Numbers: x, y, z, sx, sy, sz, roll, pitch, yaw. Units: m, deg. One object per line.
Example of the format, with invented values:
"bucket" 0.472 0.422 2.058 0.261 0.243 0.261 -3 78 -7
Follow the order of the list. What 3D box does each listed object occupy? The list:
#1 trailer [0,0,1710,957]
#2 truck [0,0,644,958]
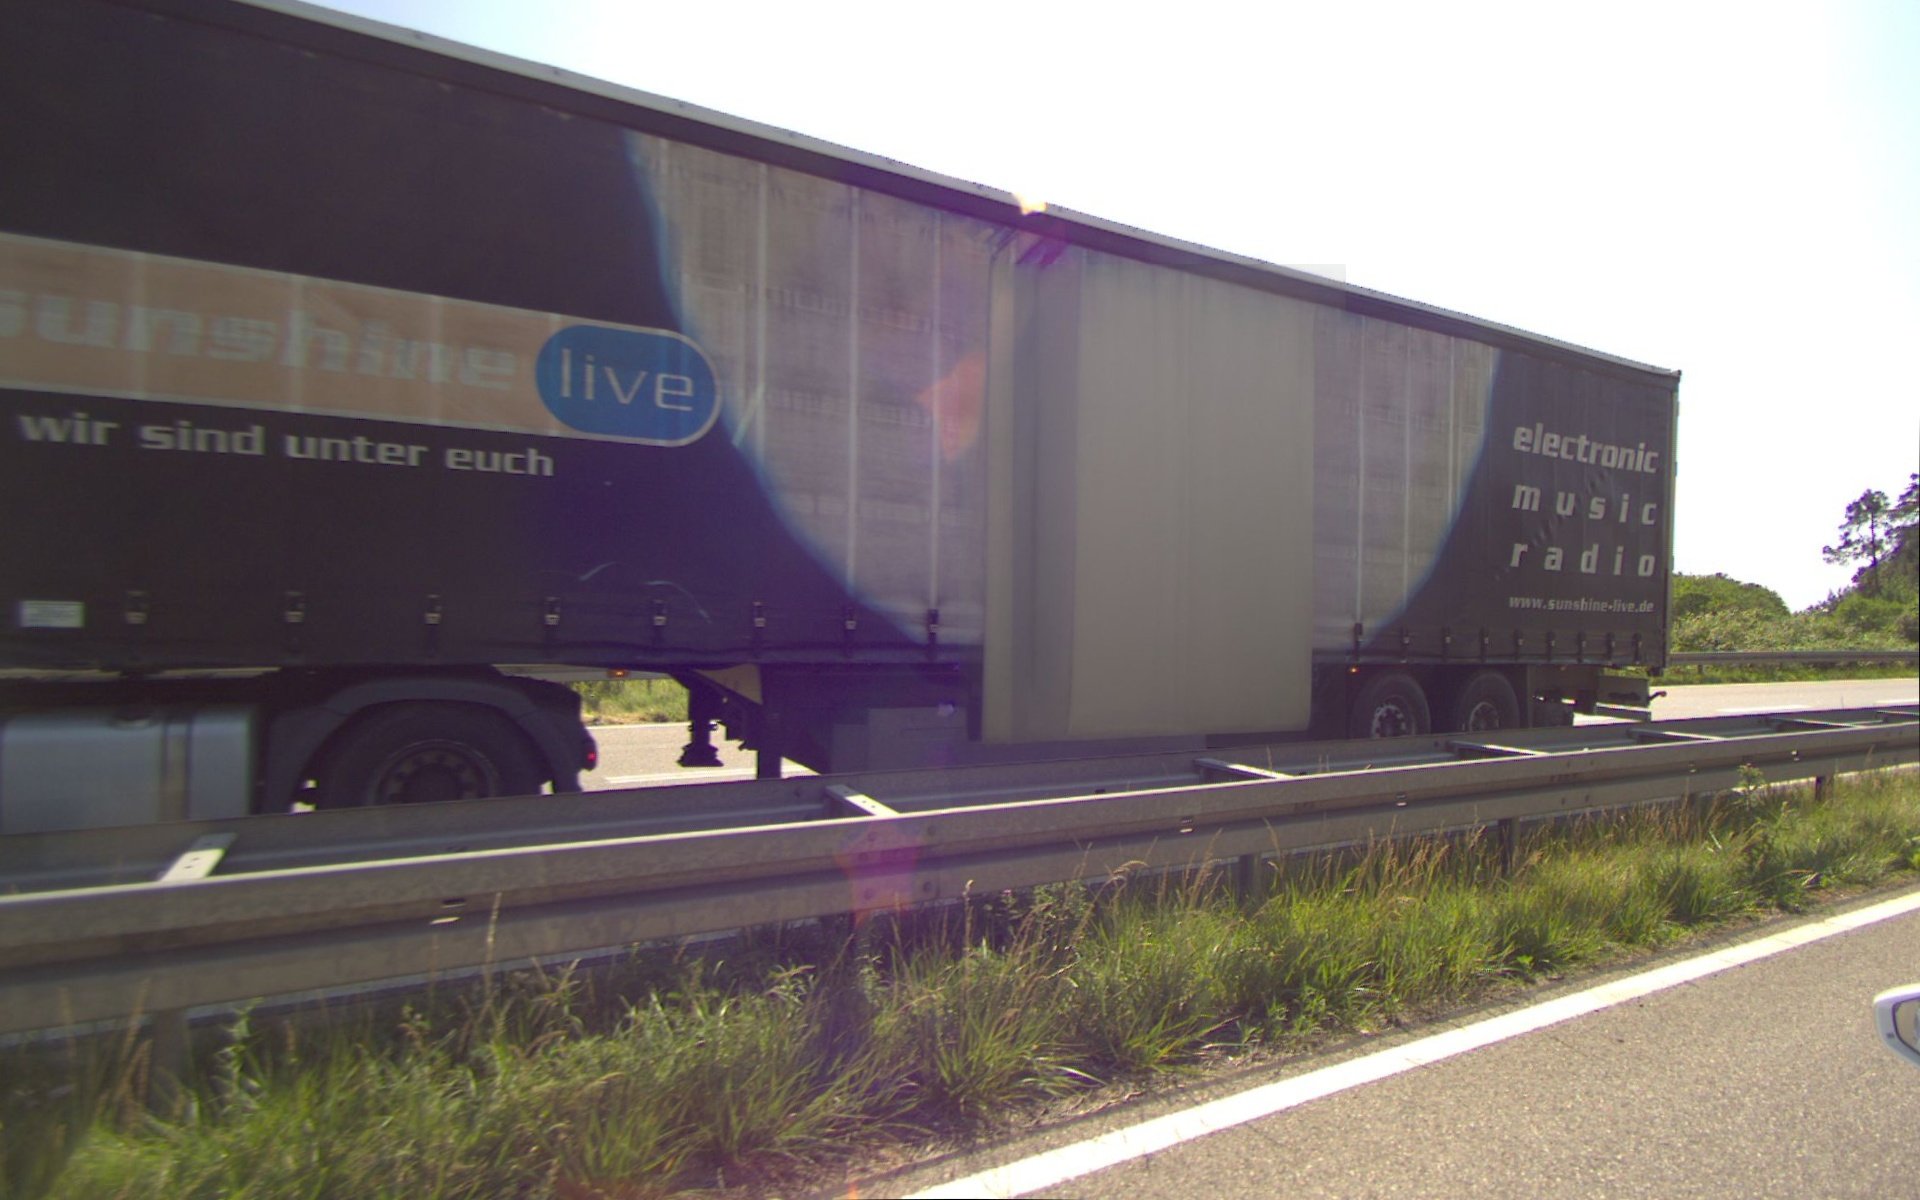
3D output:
"trailer" 1.079 -0.605 8.164 13.894 4.244 2.656 1 0 -30
"truck" -4.723 -0.749 4.837 5.645 4.244 2.656 1 0 -29
